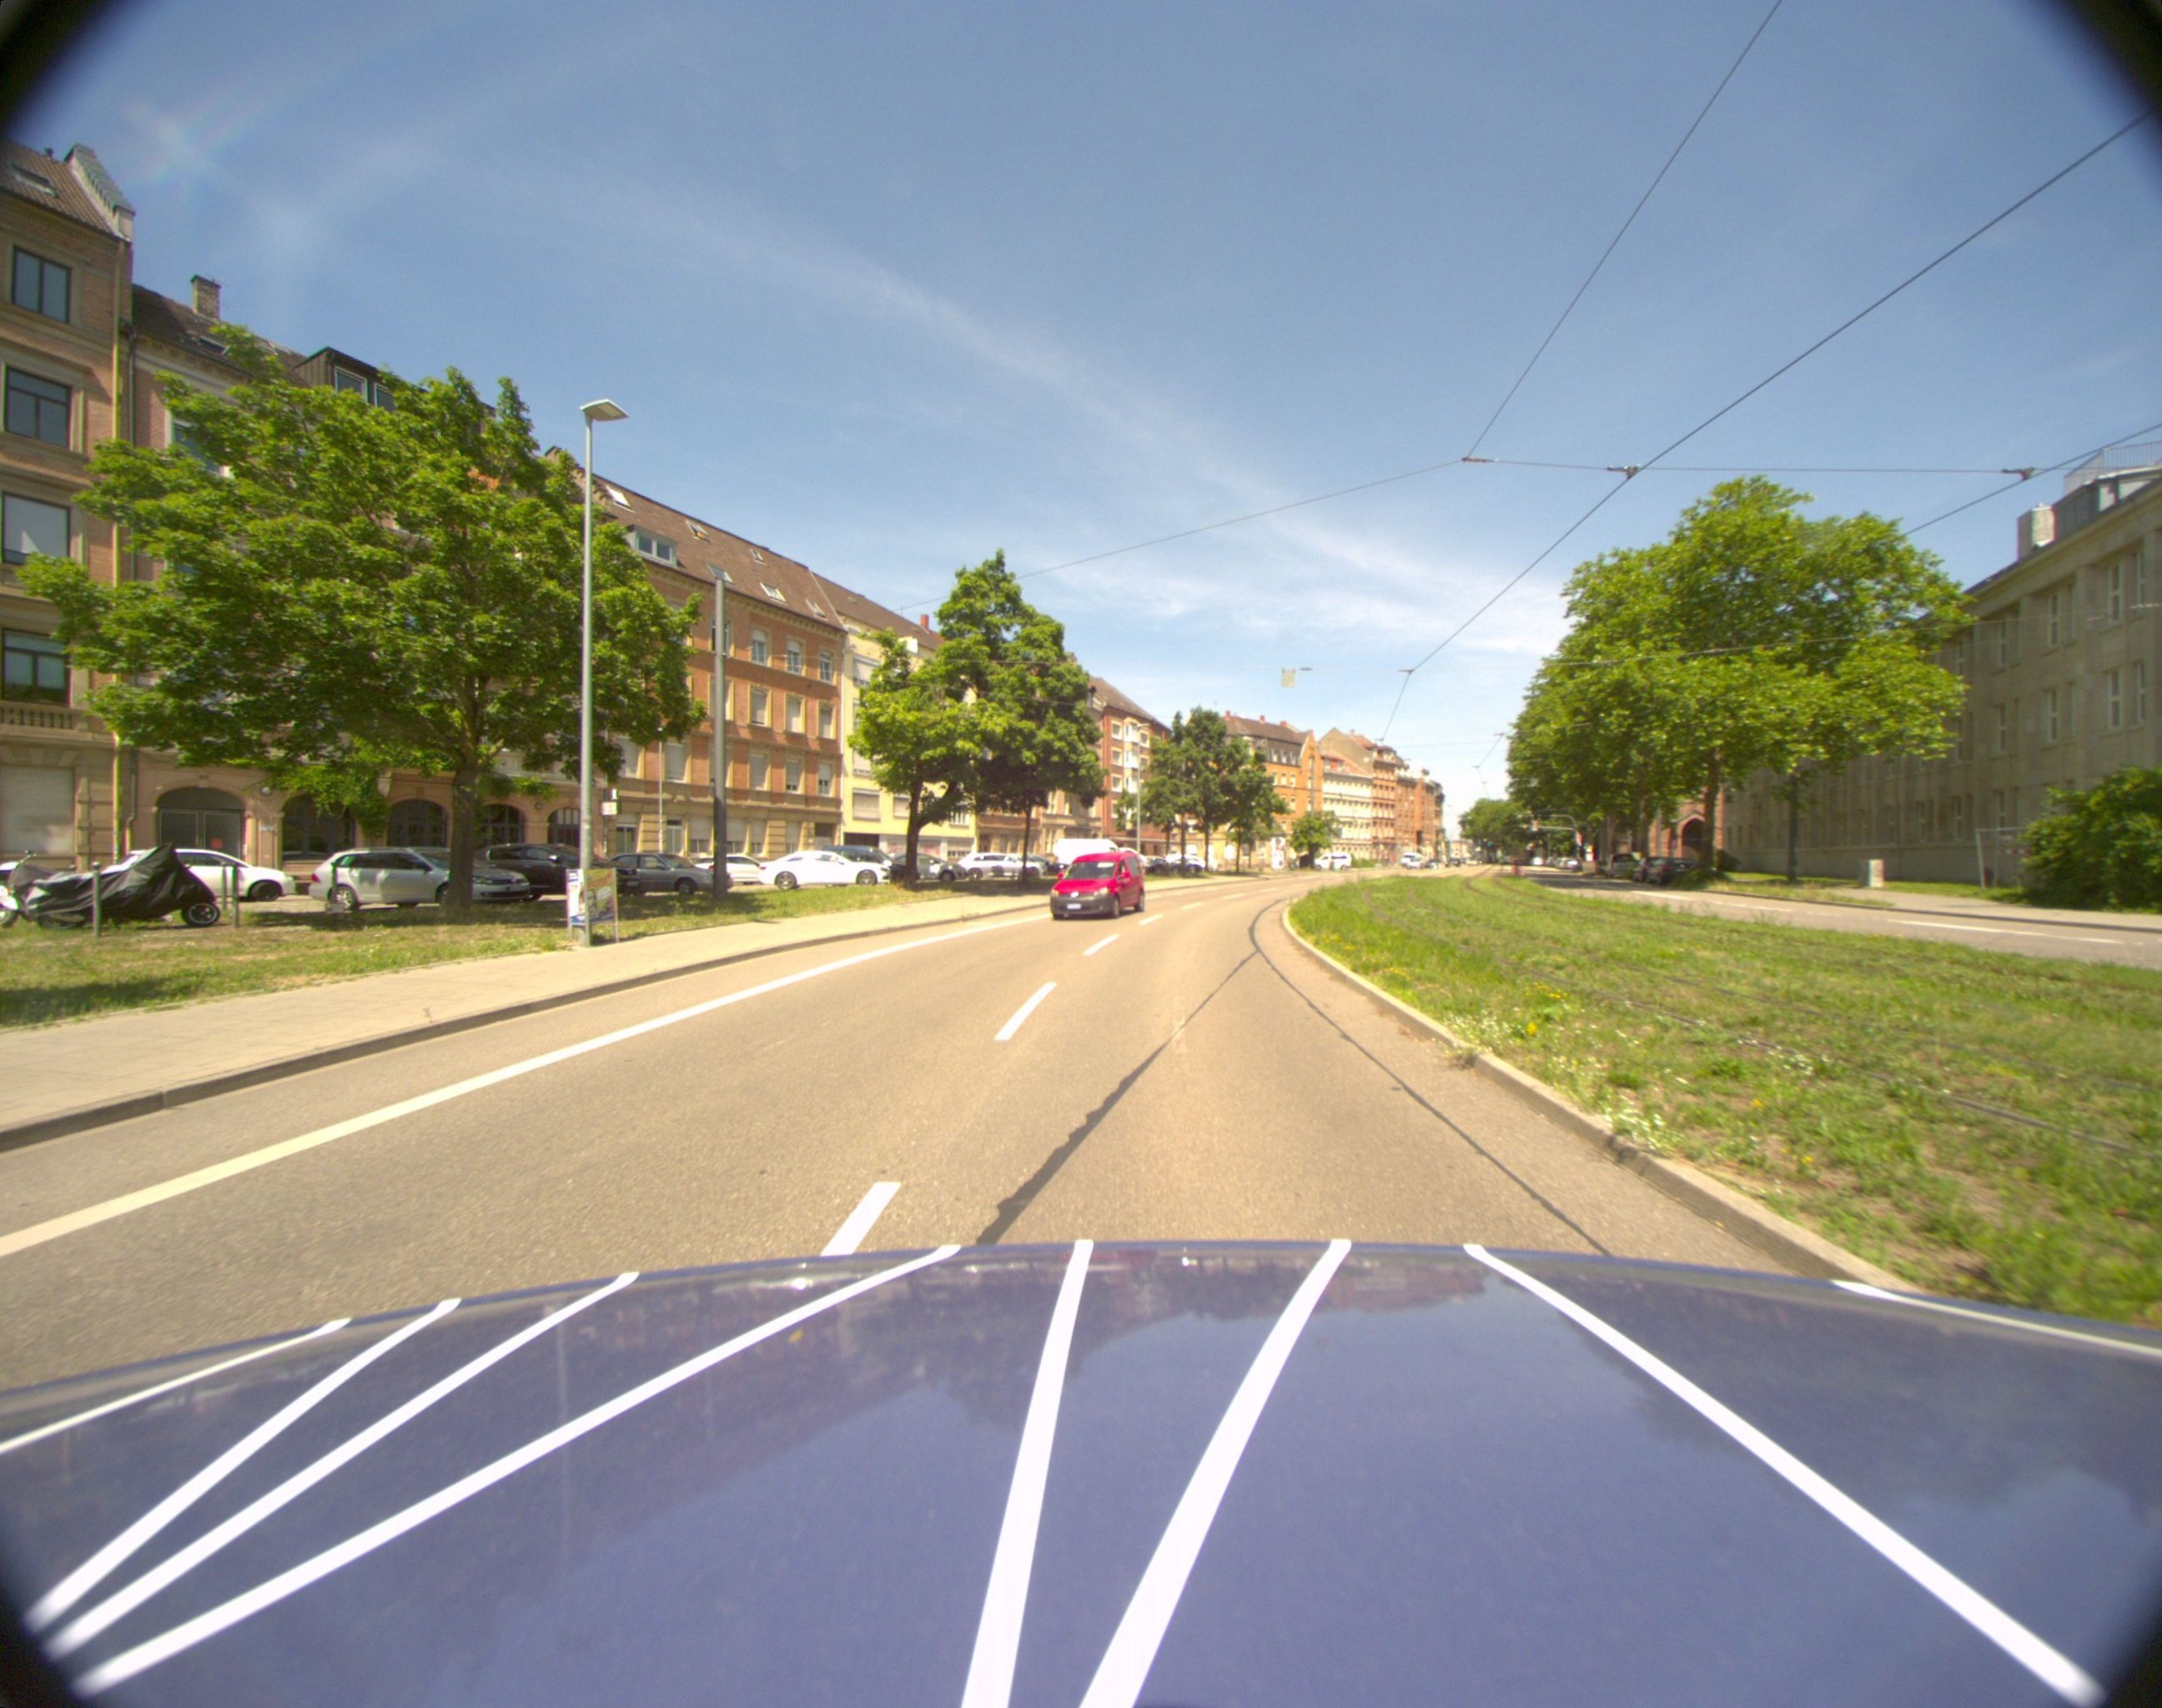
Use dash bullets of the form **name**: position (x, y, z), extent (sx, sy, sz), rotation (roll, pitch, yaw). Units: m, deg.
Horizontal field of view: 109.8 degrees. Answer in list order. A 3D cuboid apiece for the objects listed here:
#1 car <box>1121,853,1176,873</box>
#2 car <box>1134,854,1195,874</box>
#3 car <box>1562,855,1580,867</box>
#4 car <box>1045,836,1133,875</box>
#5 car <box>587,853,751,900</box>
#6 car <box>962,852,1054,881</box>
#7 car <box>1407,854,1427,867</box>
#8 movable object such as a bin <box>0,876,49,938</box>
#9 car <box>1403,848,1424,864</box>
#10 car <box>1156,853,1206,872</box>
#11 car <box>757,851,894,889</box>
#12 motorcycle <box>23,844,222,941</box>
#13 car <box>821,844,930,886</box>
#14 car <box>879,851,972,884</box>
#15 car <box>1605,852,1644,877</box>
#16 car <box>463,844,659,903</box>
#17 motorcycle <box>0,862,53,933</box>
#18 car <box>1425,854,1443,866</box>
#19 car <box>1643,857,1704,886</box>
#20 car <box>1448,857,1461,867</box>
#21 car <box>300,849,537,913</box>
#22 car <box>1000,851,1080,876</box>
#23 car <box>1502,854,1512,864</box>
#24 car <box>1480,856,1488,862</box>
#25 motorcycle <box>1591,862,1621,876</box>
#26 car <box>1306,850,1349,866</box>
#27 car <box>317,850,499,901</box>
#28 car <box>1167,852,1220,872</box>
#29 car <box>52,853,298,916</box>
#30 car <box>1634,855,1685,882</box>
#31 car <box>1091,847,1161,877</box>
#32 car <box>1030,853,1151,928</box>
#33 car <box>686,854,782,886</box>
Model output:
- **car**: position (5.037, 0.686, 56.384), extent (3.994, 1.378, 1.825), rotation (-1, 0, 8)
- **car**: position (6.501, 0.780, 59.303), extent (4.628, 1.488, 1.966), rotation (-1, 0, 5)
- **car**: position (63.753, 0.935, 98.963), extent (1.659, 1.450, 4.229), rotation (-1, -1, 29)
- **car**: position (0.504, 0.090, 50.578), extent (5.551, 2.446, 2.237), rotation (-1, 0, -8)
- **car**: position (-12.571, 0.676, 23.320), extent (3.995, 1.305, 1.973), rotation (-1, 0, 7)
- **car**: position (-3.898, 0.658, 40.371), extent (4.692, 1.419, 1.971), rotation (-1, 0, -8)
- **car**: position (42.572, 0.849, 96.258), extent (1.797, 1.564, 4.008), rotation (-1, -1, 30)
- **movable object such as a bin**: position (-16.889, 0.829, 11.948), extent (0.986, 0.931, 0.703), rotation (-1, 0, 40)
- **car**: position (52.802, 0.325, 120.530), extent (1.994, 2.317, 5.418), rotation (3, 2, 34)
- **car**: position (8.167, 0.687, 62.043), extent (3.994, 1.391, 1.825), rotation (-1, 0, 8)
- **car**: position (-9.764, 0.593, 29.479), extent (4.789, 1.305, 2.147), rotation (-1, 0, -12)
- **motorcycle**: position (-15.029, 0.555, 11.979), extent (0.675, 1.405, 1.860), rotation (1, 1, 30)
- **car**: position (-8.686, 0.449, 32.336), extent (3.996, 1.652, 1.973), rotation (-1, 0, 3)
- **car**: position (-7.049, 0.619, 34.752), extent (3.999, 1.392, 1.711), rotation (-1, 0, -7)
- **car**: position (40.512, 0.775, 56.729), extent (1.995, 1.800, 4.309), rotation (-1, -1, 31)
- **car**: position (-14.082, 0.512, 20.734), extent (4.089, 1.461, 1.798), rotation (-1, 0, 2)
- **motorcycle**: position (-19.405, 0.763, 13.648), extent (2.079, 1.229, 0.814), rotation (-1, 0, 45)
- **car**: position (49.465, 0.792, 106.429), extent (1.797, 1.564, 4.008), rotation (-1, -1, 30)
- **car**: position (30.662, 0.877, 39.432), extent (1.589, 1.415, 4.331), rotation (-1, -1, 25)
- **car**: position (61.947, 1.334, 125.877), extent (1.797, 1.564, 4.007), rotation (-1, -1, 28)
- **car**: position (-15.622, 0.635, 18.044), extent (4.344, 1.368, 1.583), rotation (-1, 0, 3)
- **car**: position (-2.398, 0.537, 43.509), extent (4.431, 1.330, 1.971), rotation (-1, 0, -8)
- **car**: position (101.669, 1.169, 181.321), extent (1.818, 2.283, 3.769), rotation (-1, 0, 26)
- **car**: position (107.219, 1.258, 202.293), extent (1.748, 1.386, 4.355), rotation (-3, -1, 26)
- **motorcycle**: position (42.291, 1.181, 61.248), extent (1.871, 1.062, 0.727), rotation (-2, 0, -2)
- **car**: position (30.764, 0.478, 94.896), extent (4.846, 1.926, 2.169), rotation (-1, 0, 12)
- **car**: position (-21.687, 0.660, 24.673), extent (1.838, 1.521, 4.007), rotation (-1, -1, 27)
- **car**: position (9.571, 0.677, 64.863), extent (4.407, 1.622, 2.001), rotation (-1, 0, 7)
- **car**: position (-24.254, 0.744, 20.515), extent (1.837, 1.521, 4.008), rotation (-1, -1, 31)
- **car**: position (33.559, 0.805, 44.153), extent (1.764, 1.474, 4.331), rotation (-1, -1, 30)
- **car**: position (3.136, 0.545, 53.688), extent (4.844, 1.961, 2.077), rotation (-1, 0, 0)
- **car**: position (0.438, 0.914, 21.076), extent (1.857, 1.823, 5.174), rotation (-1, -1, 18)
- **car**: position (-16.033, 0.709, 35.267), extent (1.780, 1.411, 3.723), rotation (-1, -1, 28)
